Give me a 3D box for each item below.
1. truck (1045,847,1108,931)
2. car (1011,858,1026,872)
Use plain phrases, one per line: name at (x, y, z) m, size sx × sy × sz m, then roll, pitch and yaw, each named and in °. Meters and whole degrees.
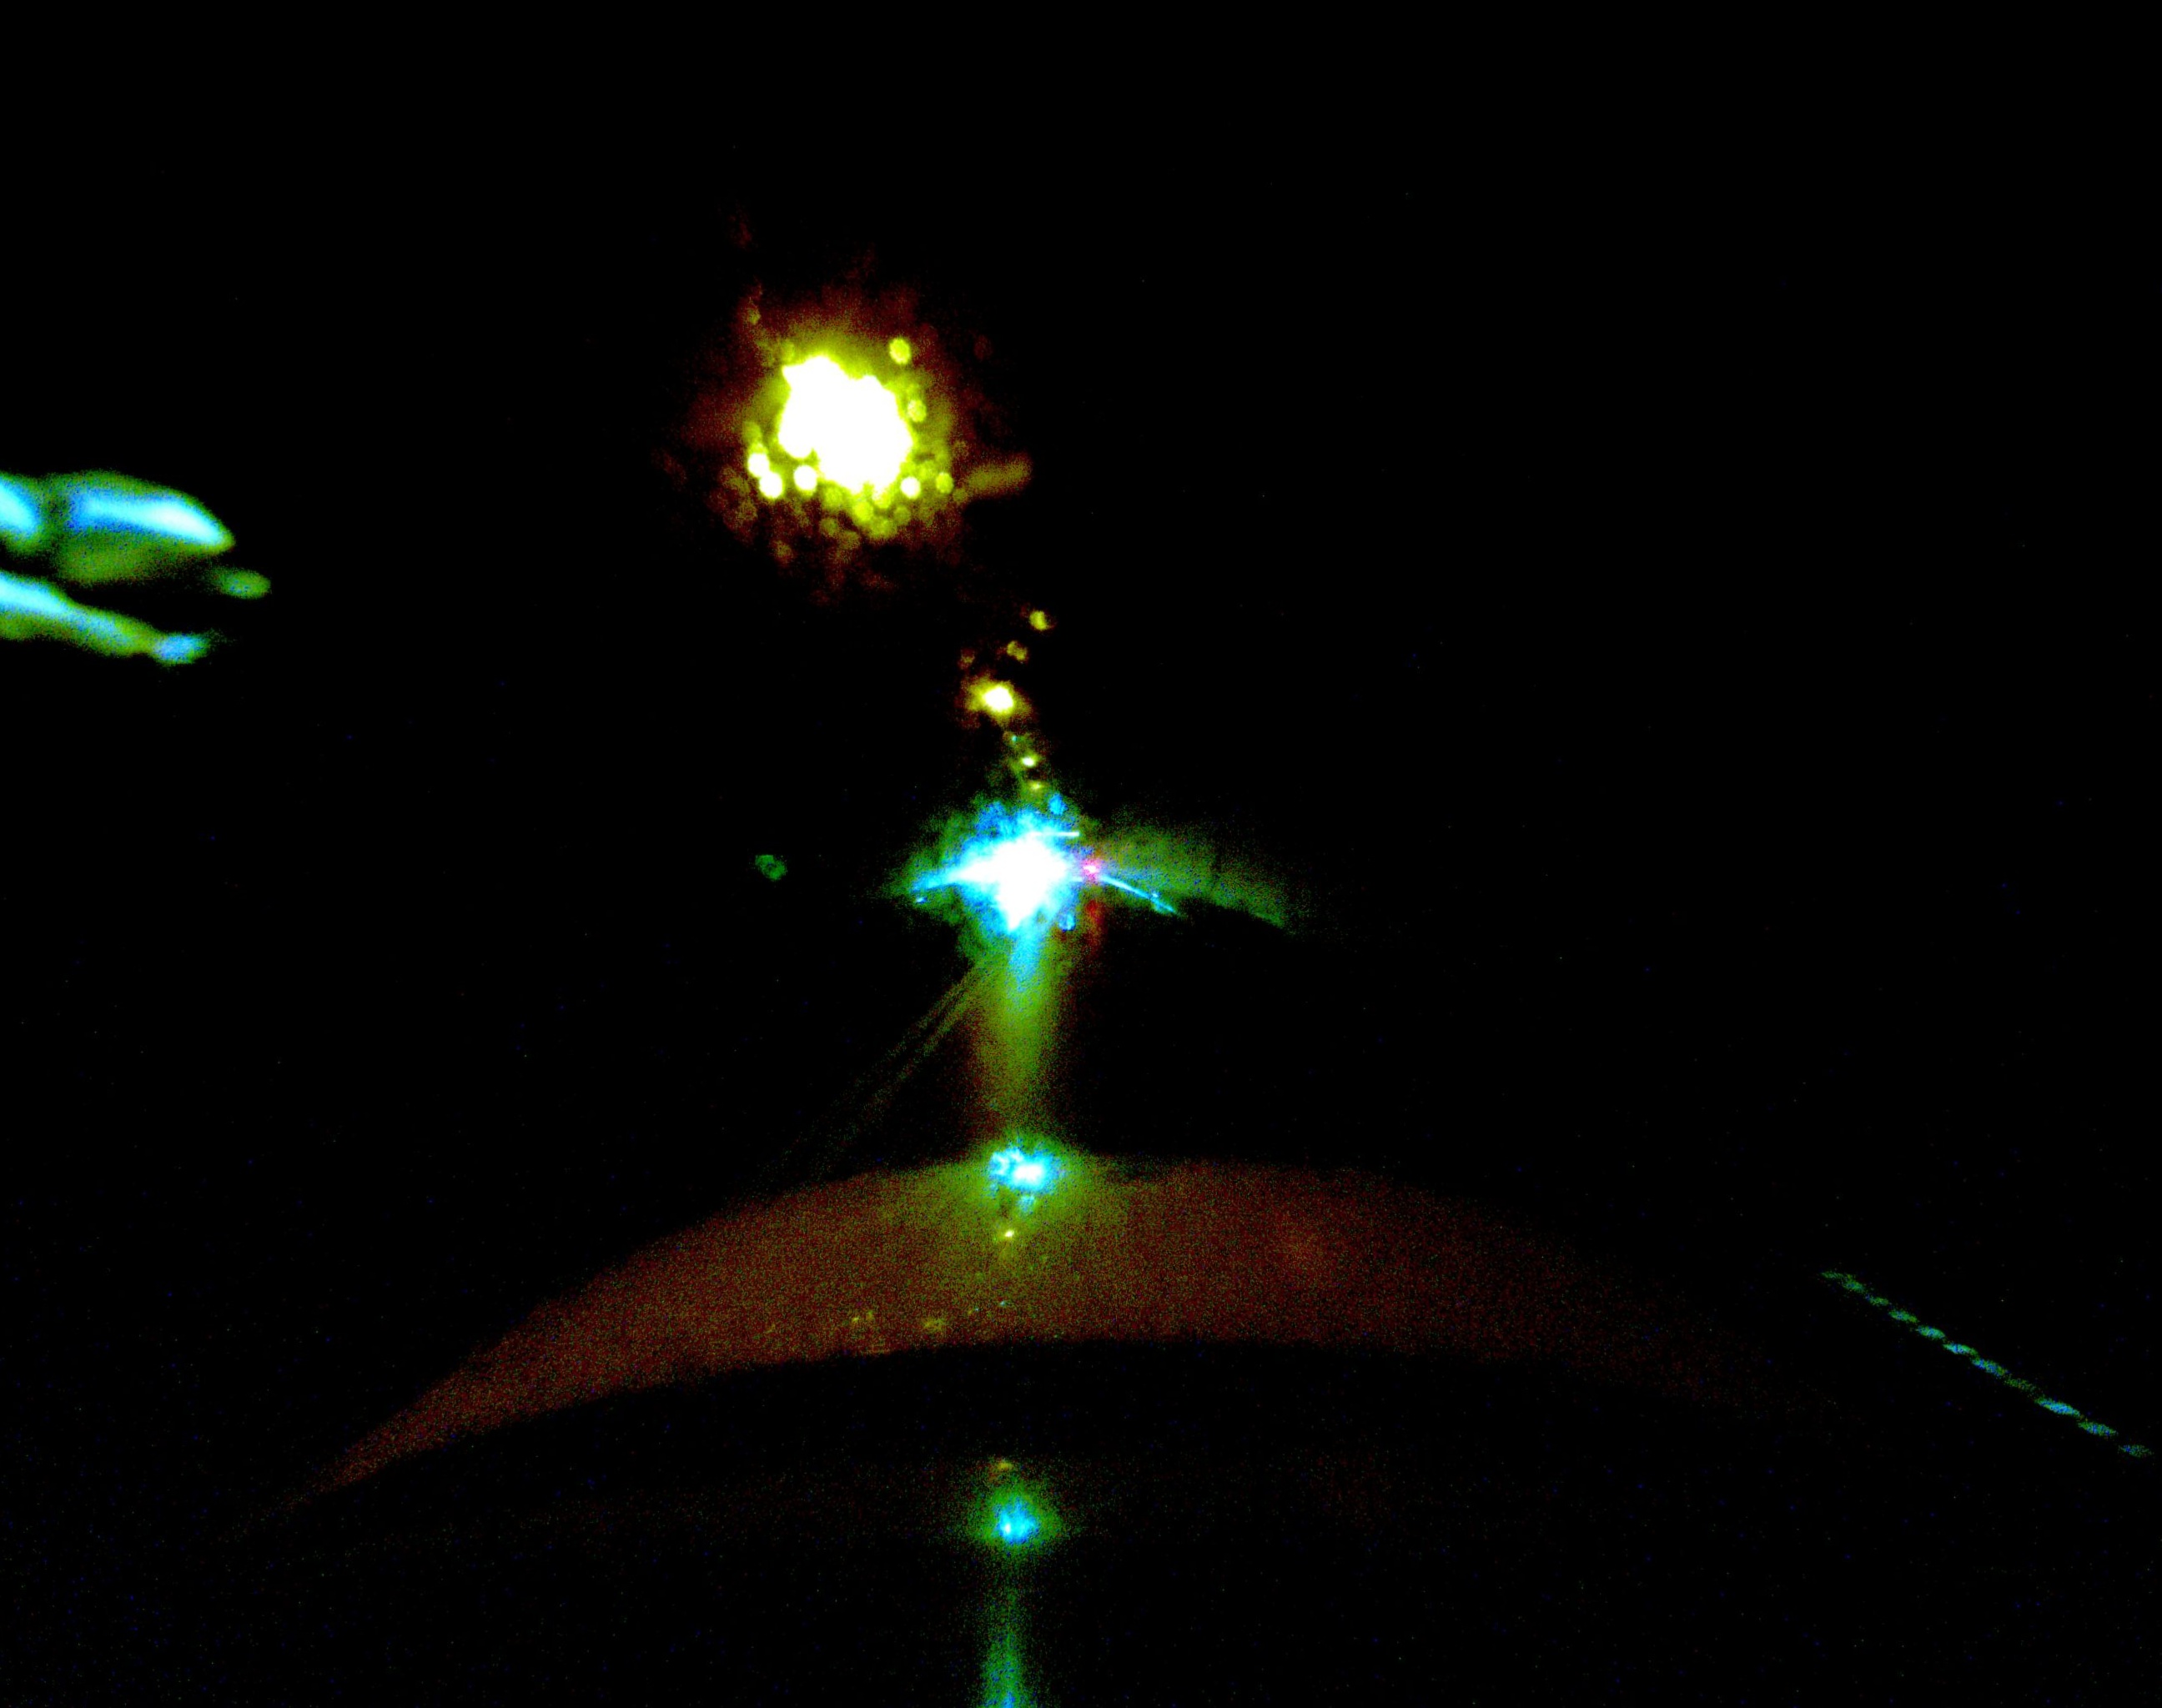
truck at (-0.238, 1.315, 33.826) m, size 2.256 × 3.011 × 7.411 m, roll 2°, pitch 0°, yaw -1°
car at (-6.663, 1.137, 86.787) m, size 1.618 × 1.517 × 4.130 m, roll 0°, pitch 0°, yaw -5°
